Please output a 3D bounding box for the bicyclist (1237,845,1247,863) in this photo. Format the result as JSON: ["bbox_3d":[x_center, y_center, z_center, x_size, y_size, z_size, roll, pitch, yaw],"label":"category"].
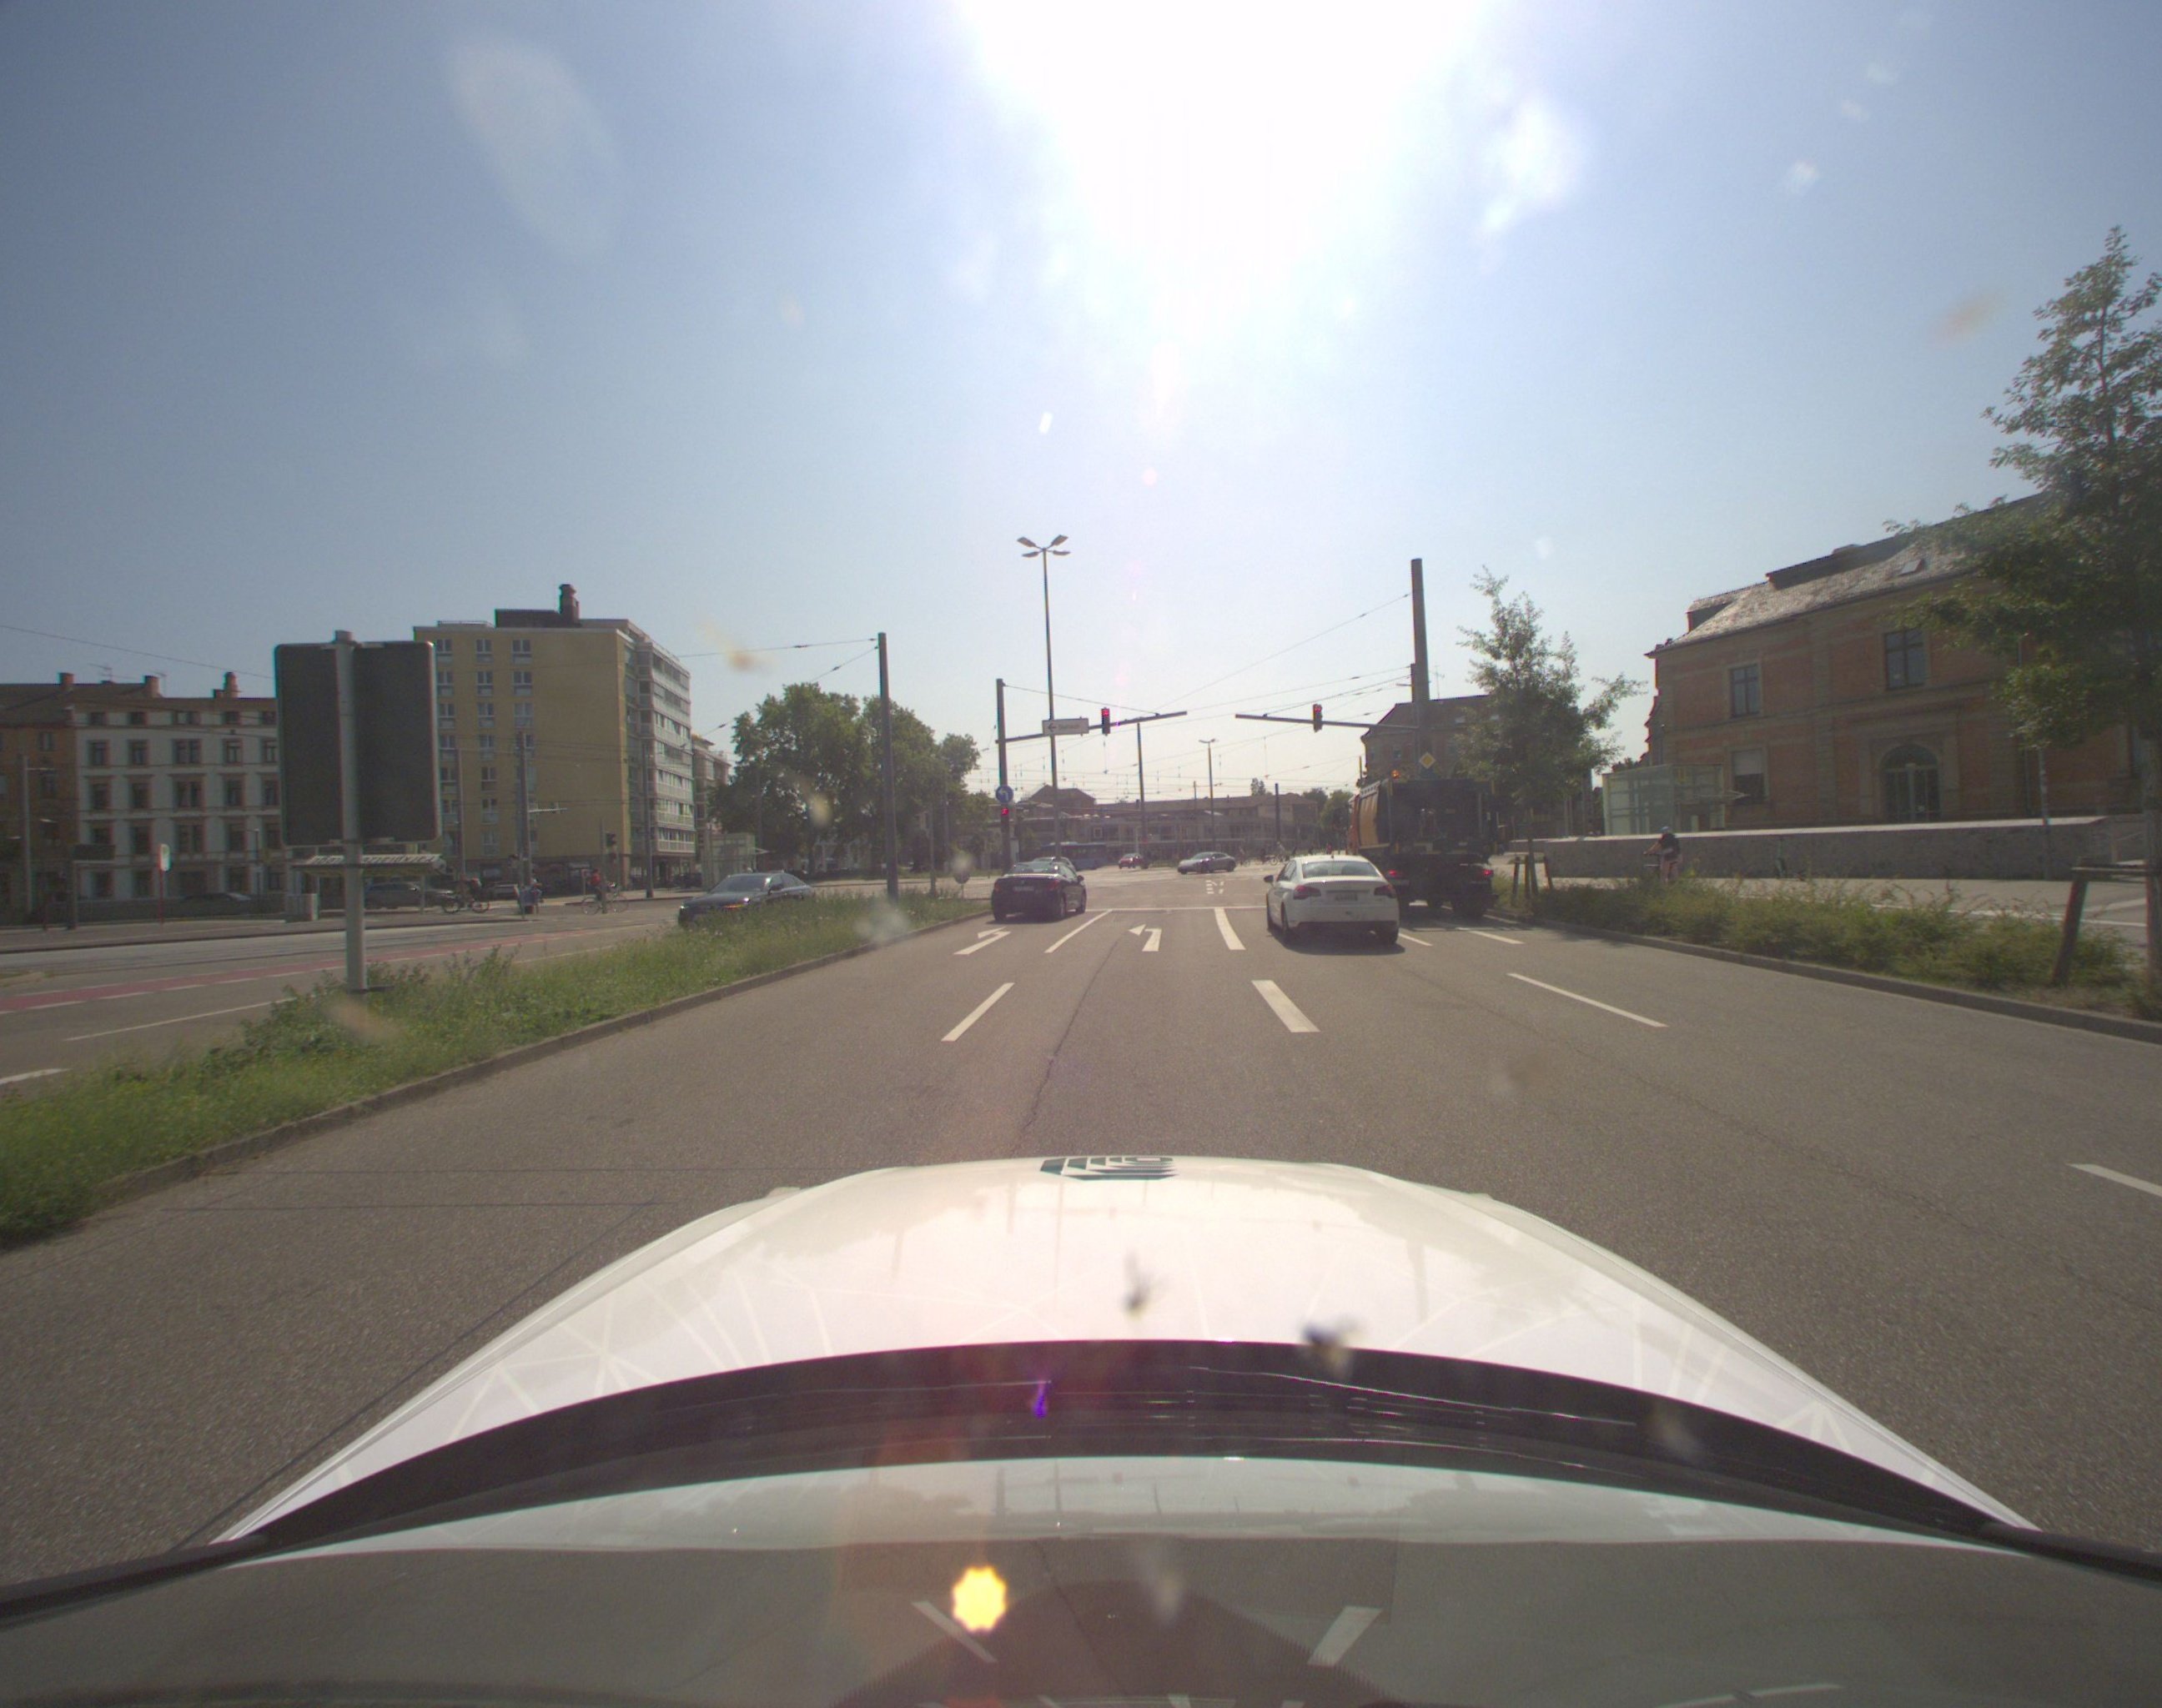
[{"bbox_3d":[13.912,0.018,70.233,0.662,1.509,0.714,-2,0,0],"label":"bicyclist"}]

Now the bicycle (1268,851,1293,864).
[{"bbox_3d":[17.497,0.316,71.340,1.974,1.018,0.713,-2,0,-4],"label":"bicycle"}]

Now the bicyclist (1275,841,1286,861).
[{"bbox_3d":[17.474,-0.269,71.341,0.703,1.764,0.714,-2,0,-4],"label":"bicyclist"}]

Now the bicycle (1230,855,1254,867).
[{"bbox_3d":[13.883,0.594,70.231,1.972,1.018,0.714,-2,0,-1],"label":"bicycle"}]

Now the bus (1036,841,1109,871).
[{"bbox_3d":[-0.705,0.134,86.471,3.026,2.931,11.919,-2,0,24],"label":"bus"}]

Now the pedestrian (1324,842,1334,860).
[{"bbox_3d":[22.043,-0.274,72.449,0.656,1.534,0.719,-3,0,29],"label":"pedestrian"}]

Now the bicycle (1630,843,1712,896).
[{"bbox_3d":[12.662,0.319,17.556,0.553,1.060,2.009,-3,0,9],"label":"bicycle"}]

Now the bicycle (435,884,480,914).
[{"bbox_3d":[-27.142,1.921,35.511,0.977,1.178,2.808,-2,0,-26],"label":"bicycle"}]

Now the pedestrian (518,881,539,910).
[{"bbox_3d":[-31.732,2.364,46.787,0.648,1.633,0.812,-3,-1,-10],"label":"pedestrian"}]

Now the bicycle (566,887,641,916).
[{"bbox_3d":[-18.409,1.839,31.436,2.410,0.953,0.601,-3,-1,-11],"label":"bicycle"}]

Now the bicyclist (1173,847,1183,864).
[{"bbox_3d":[9.178,0.132,76.995,0.761,1.634,0.761,-2,0,-8],"label":"bicyclist"}]

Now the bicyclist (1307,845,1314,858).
[{"bbox_3d":[21.380,-0.256,75.737,0.499,1.188,0.510,-2,-1,23],"label":"bicyclist"}]

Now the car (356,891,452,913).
[{"bbox_3d":[-39.132,2.761,47.158,3.890,0.987,1.707,-3,0,-16],"label":"car"}]

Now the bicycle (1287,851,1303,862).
[{"bbox_3d":[20.463,0.276,77.901,1.603,0.985,0.501,-2,0,-37],"label":"bicycle"}]

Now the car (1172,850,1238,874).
[{"bbox_3d":[8.400,0.522,55.030,4.613,1.400,1.922,-2,0,-43],"label":"car"}]

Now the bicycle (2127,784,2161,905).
[{"bbox_3d":[17.194,-0.173,13.018,1.368,1.860,0.452,-2,0,-34],"label":"bicycle"}]

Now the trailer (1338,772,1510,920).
[{"bbox_3d":[8.042,-0.163,19.930,2.448,3.007,6.342,-1,0,9],"label":"trailer"}]

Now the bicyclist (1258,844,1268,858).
[{"bbox_3d":[17.421,-0.295,78.044,0.670,1.350,0.707,-2,0,-18],"label":"bicyclist"}]

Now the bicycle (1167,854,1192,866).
[{"bbox_3d":[9.319,0.579,77.018,2.196,1.087,0.760,-2,0,-9],"label":"bicycle"}]

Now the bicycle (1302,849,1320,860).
[{"bbox_3d":[21.398,0.062,75.728,1.576,0.985,0.510,-2,0,23],"label":"bicycle"}]

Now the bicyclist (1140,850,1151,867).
[{"bbox_3d":[5.988,0.386,76.079,0.798,1.541,0.760,-2,0,-12],"label":"bicyclist"}]

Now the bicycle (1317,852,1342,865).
[{"bbox_3d":[22.109,0.397,72.424,1.959,1.018,0.719,-2,0,29],"label":"bicycle"}]

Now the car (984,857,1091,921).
[{"bbox_3d":[-0.983,0.823,20.672,1.746,1.404,3.993,-2,0,11],"label":"car"}]

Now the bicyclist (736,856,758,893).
[{"bbox_3d":[-15.472,0.950,37.727,0.684,1.650,0.623,-3,0,43],"label":"bicyclist"}]

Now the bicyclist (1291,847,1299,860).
[{"bbox_3d":[20.487,-0.024,77.935,0.599,1.247,0.501,-2,-1,-37],"label":"bicyclist"}]

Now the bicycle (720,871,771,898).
[{"bbox_3d":[-15.498,1.414,37.684,0.690,1.137,2.056,-3,0,43],"label":"bicycle"}]

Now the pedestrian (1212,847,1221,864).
[{"bbox_3d":[13.220,0.155,79.430,0.634,1.561,0.746,-2,0,-4],"label":"pedestrian"}]

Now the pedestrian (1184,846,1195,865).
[{"bbox_3d":[10.456,0.129,78.508,0.776,1.752,0.813,-3,0,22],"label":"pedestrian"}]

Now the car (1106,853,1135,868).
[{"bbox_3d":[4.084,0.657,83.960,1.713,1.420,3.861,-2,0,22],"label":"car"}]

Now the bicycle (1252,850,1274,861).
[{"bbox_3d":[17.421,0.138,78.037,1.983,1.018,0.710,-2,0,-18],"label":"bicycle"}]

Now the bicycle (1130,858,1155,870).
[{"bbox_3d":[5.762,0.924,76.029,2.198,1.087,0.760,-2,0,-12],"label":"bicycle"}]

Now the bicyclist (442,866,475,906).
[{"bbox_3d":[-27.222,1.383,35.618,0.977,1.654,0.657,-2,0,-26],"label":"bicyclist"}]

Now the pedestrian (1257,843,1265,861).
[{"bbox_3d":[17.733,-0.211,80.089,0.619,1.752,0.628,-2,0,1],"label":"pedestrian"}]

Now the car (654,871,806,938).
[{"bbox_3d":[-8.969,1.221,21.330,1.764,1.411,4.768,-2,0,1],"label":"car"}]

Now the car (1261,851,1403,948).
[{"bbox_3d":[4.331,0.697,14.727,1.748,1.455,4.435,-2,0,8],"label":"car"}]

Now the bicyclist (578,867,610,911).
[{"bbox_3d":[-18.748,1.336,31.378,0.839,1.642,0.604,-3,0,-11],"label":"bicyclist"}]

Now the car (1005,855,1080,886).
[{"bbox_3d":[-1.968,0.842,43.087,1.753,1.425,4.093,-3,0,36],"label":"car"}]

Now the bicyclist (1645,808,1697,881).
[{"bbox_3d":[12.614,-0.205,17.419,0.545,1.496,0.806,-2,0,9],"label":"bicyclist"}]

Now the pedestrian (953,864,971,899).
[{"bbox_3d":[-4.534,1.056,31.021,0.596,1.268,0.503,-3,2,-11],"label":"pedestrian"}]
